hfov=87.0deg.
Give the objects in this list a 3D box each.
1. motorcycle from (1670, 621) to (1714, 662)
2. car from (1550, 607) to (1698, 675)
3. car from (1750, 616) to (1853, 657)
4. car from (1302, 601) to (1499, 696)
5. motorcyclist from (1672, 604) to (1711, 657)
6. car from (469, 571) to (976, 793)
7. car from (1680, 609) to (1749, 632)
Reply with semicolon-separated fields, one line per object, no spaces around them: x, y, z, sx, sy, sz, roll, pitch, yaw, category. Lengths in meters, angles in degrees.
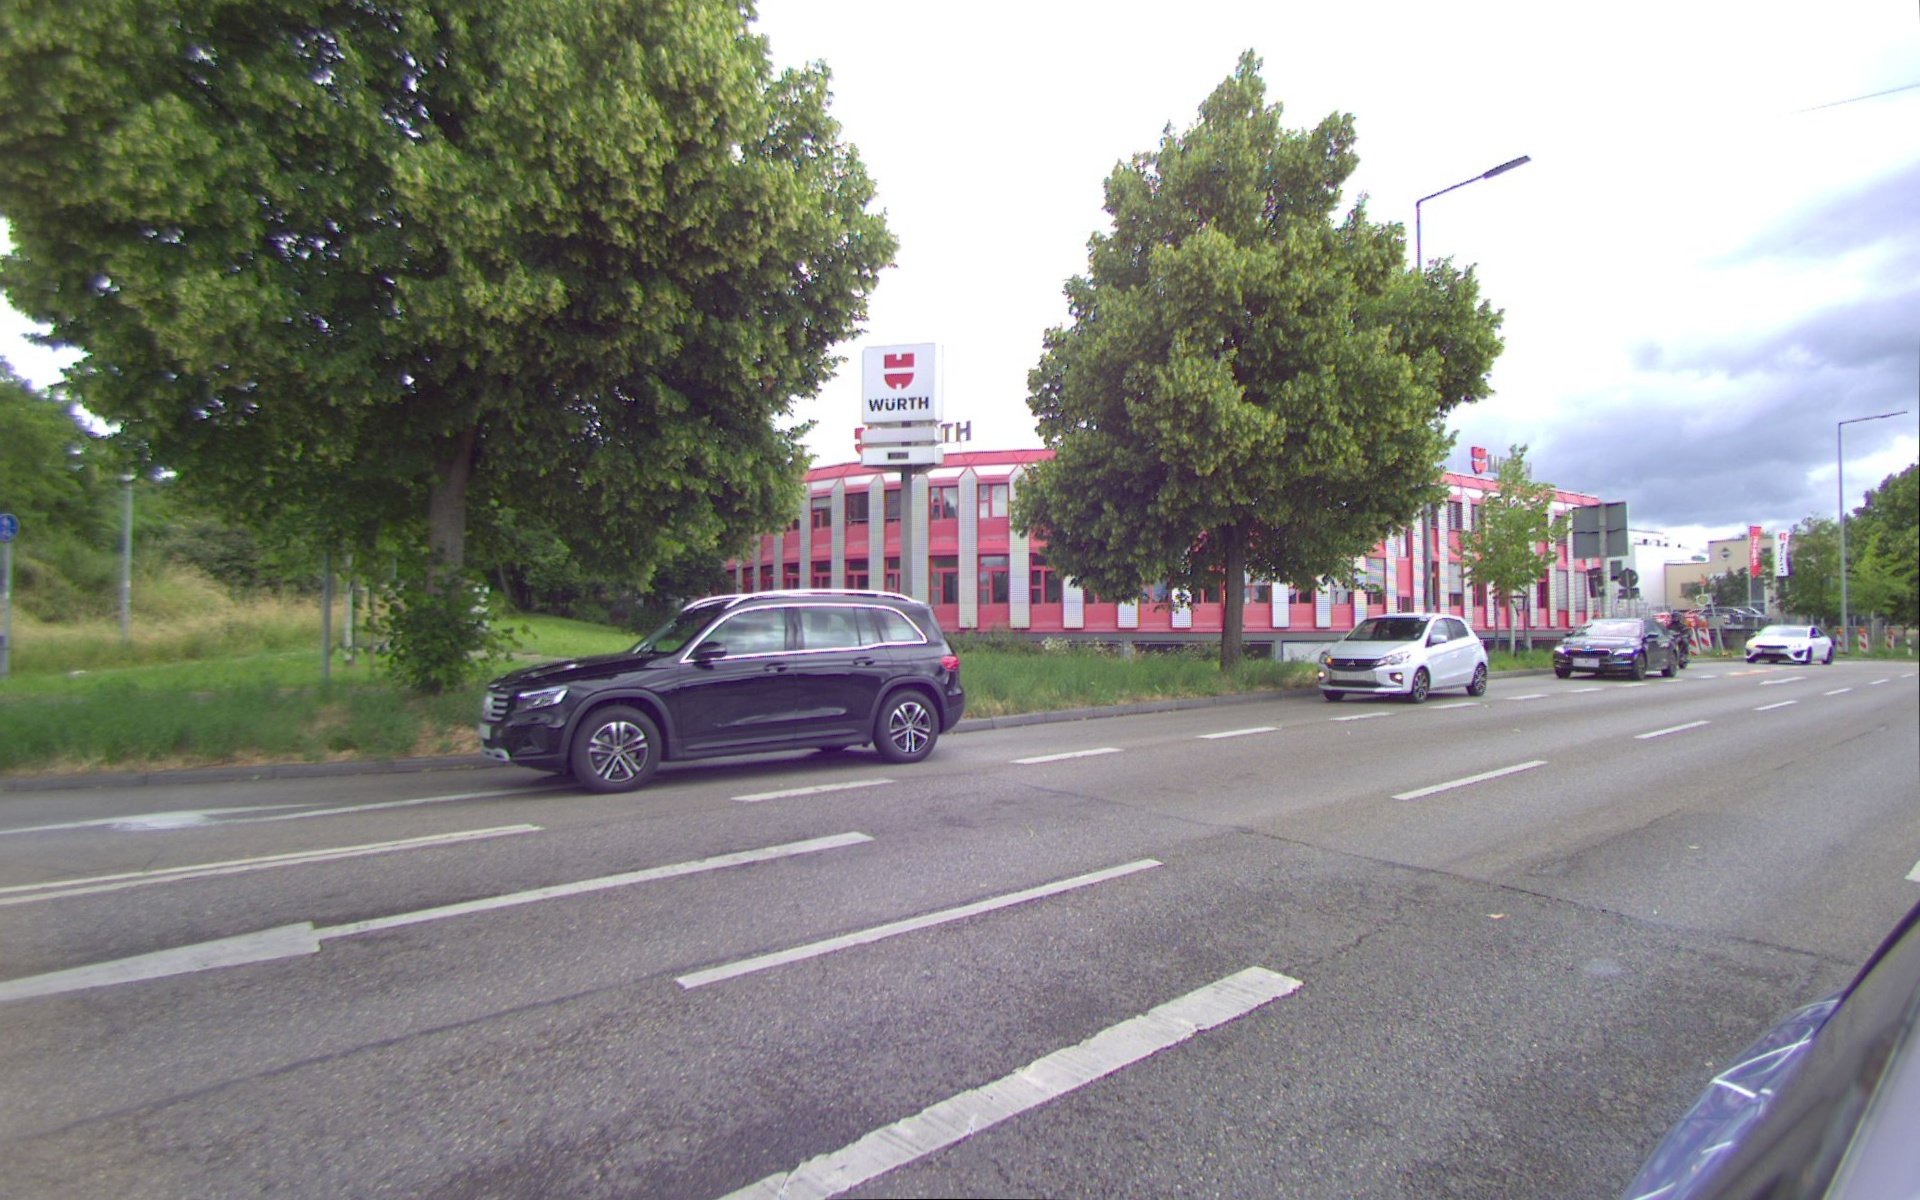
21.408;1.192;29.591;0.748;1.162;1.912;-2;-3;44;motorcycle
16.090;0.986;24.425;4.446;1.464;1.784;3;-1;-40;car
30.221;1.328;36.321;4.393;1.380;1.786;3;-3;-35;car
7.697;0.825;17.553;3.768;1.462;1.782;3;-3;-43;car
21.363;0.892;29.549;0.748;1.510;0.918;-2;-3;44;motorcyclist
-2.136;0.678;9.624;4.341;1.671;1.786;1;-3;-35;car
61.802;1.676;82.961;1.752;1.776;4.247;0;0;-39;car
